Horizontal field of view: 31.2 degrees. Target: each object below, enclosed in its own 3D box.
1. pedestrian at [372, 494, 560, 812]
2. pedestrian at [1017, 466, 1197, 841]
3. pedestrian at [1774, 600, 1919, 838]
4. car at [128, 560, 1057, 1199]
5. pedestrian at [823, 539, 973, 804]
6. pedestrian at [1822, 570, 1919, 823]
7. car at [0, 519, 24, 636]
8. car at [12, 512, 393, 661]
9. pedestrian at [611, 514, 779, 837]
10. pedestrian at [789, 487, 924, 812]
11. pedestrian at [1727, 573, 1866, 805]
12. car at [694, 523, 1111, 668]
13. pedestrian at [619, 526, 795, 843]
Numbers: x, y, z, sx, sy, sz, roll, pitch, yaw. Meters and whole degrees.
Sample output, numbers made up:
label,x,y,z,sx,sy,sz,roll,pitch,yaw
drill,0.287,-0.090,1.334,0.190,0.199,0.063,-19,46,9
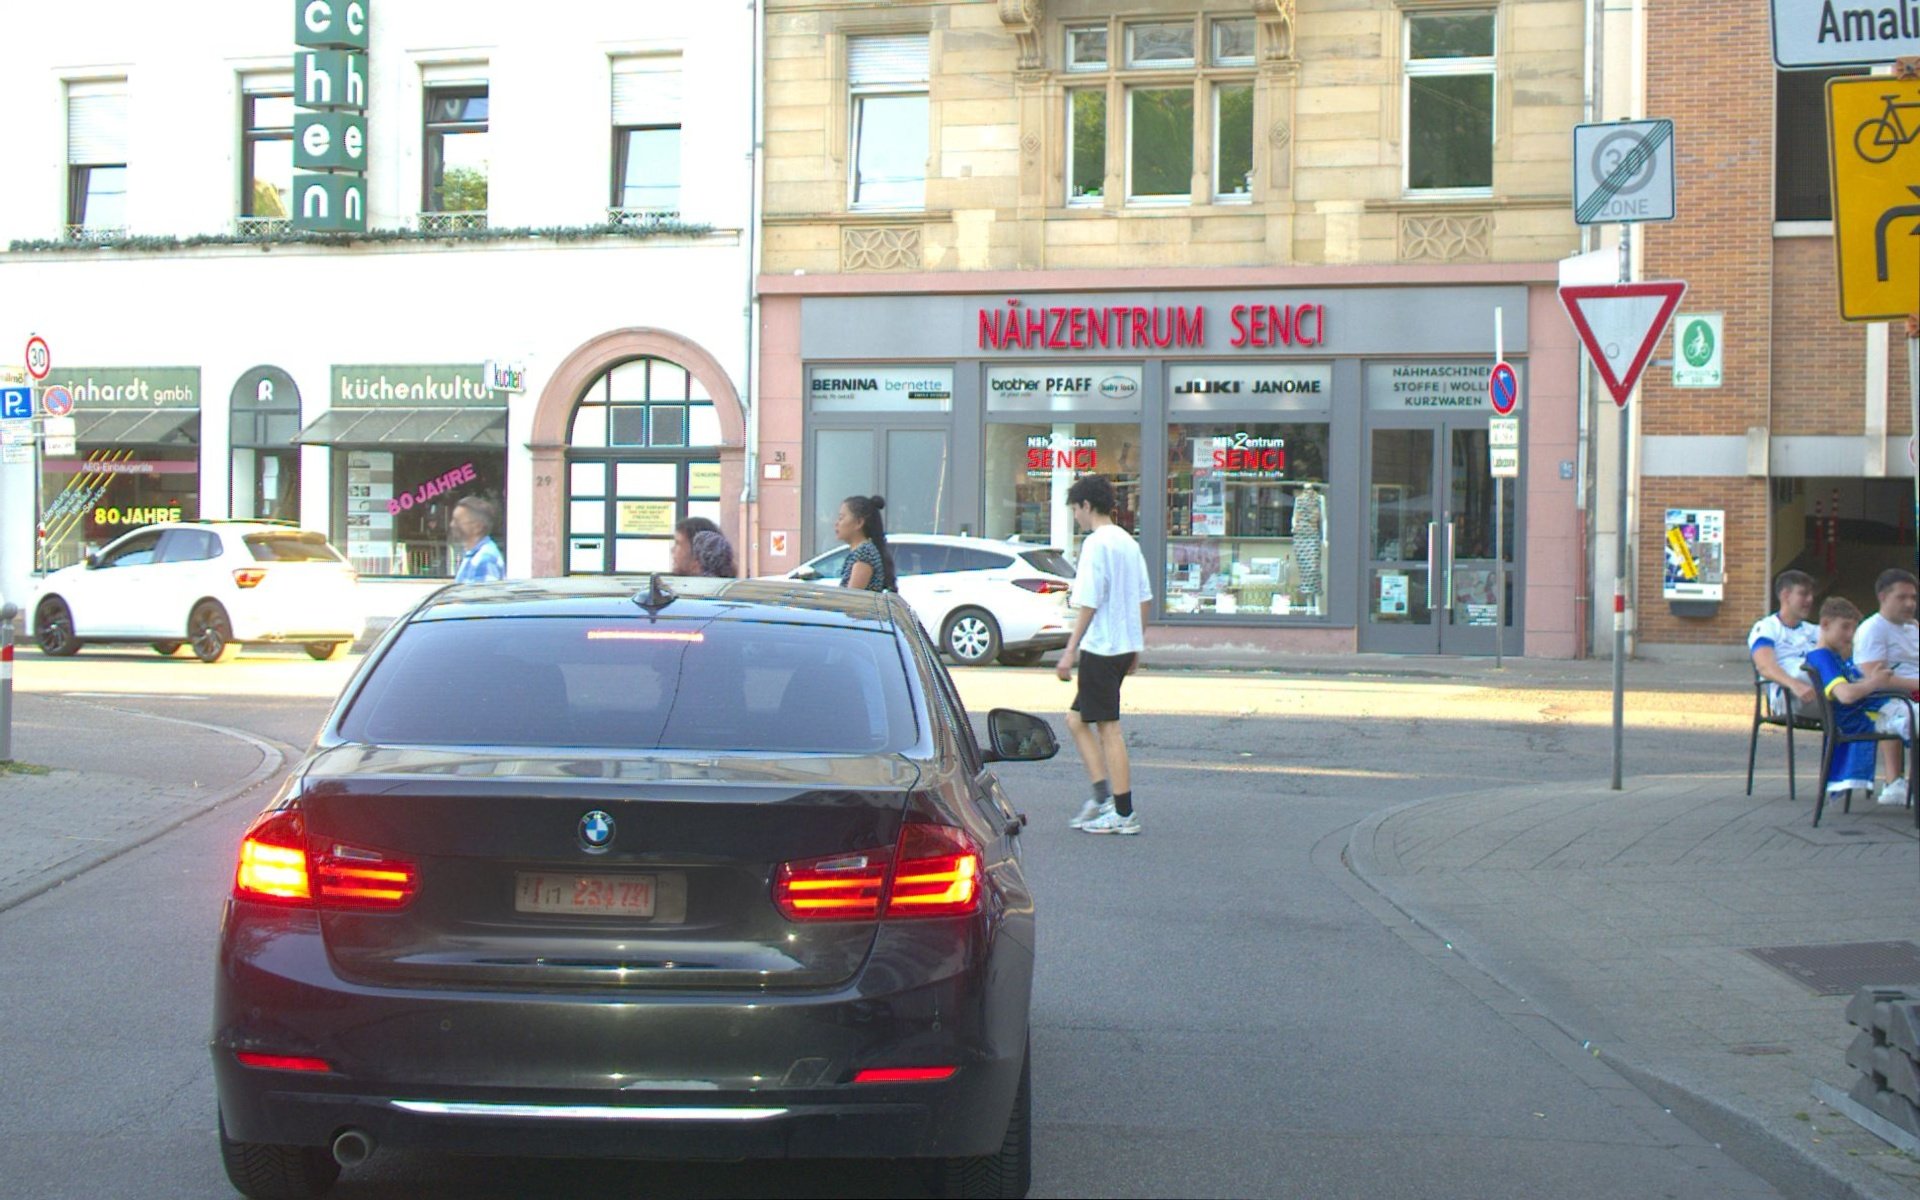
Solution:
label,x,y,z,sx,sy,sz,roll,pitch,yaw
pedestrian,-2.773,0.286,19.346,0.895,1.719,0.607,2,3,4
pedestrian,0.762,0.263,17.685,0.699,1.871,0.677,2,1,21
pedestrian,4.574,0.586,17.191,0.890,1.146,0.619,1,1,5
car,-0.794,0.637,9.059,1.765,1.370,4.791,2,1,-2
pedestrian,-0.346,0.393,19.516,0.815,1.469,0.606,0,1,2
pedestrian,4.860,0.493,17.908,0.617,1.279,0.659,1,1,6
car,-14.363,-0.307,44.574,3.991,1.505,1.798,1,0,20
car,-8.015,-0.181,36.225,3.996,1.468,1.879,2,2,40
pedestrian,-1.367,0.377,17.659,0.724,1.603,0.650,2,1,-11
pedestrian,-0.560,0.259,18.776,0.667,1.740,0.606,1,1,4
pedestrian,4.645,0.484,19.117,0.617,1.250,0.735,1,1,4
car,-0.650,-0.071,39.147,4.356,1.557,1.867,1,0,20
pedestrian,-1.256,0.406,16.986,0.735,1.508,0.650,2,1,-11
